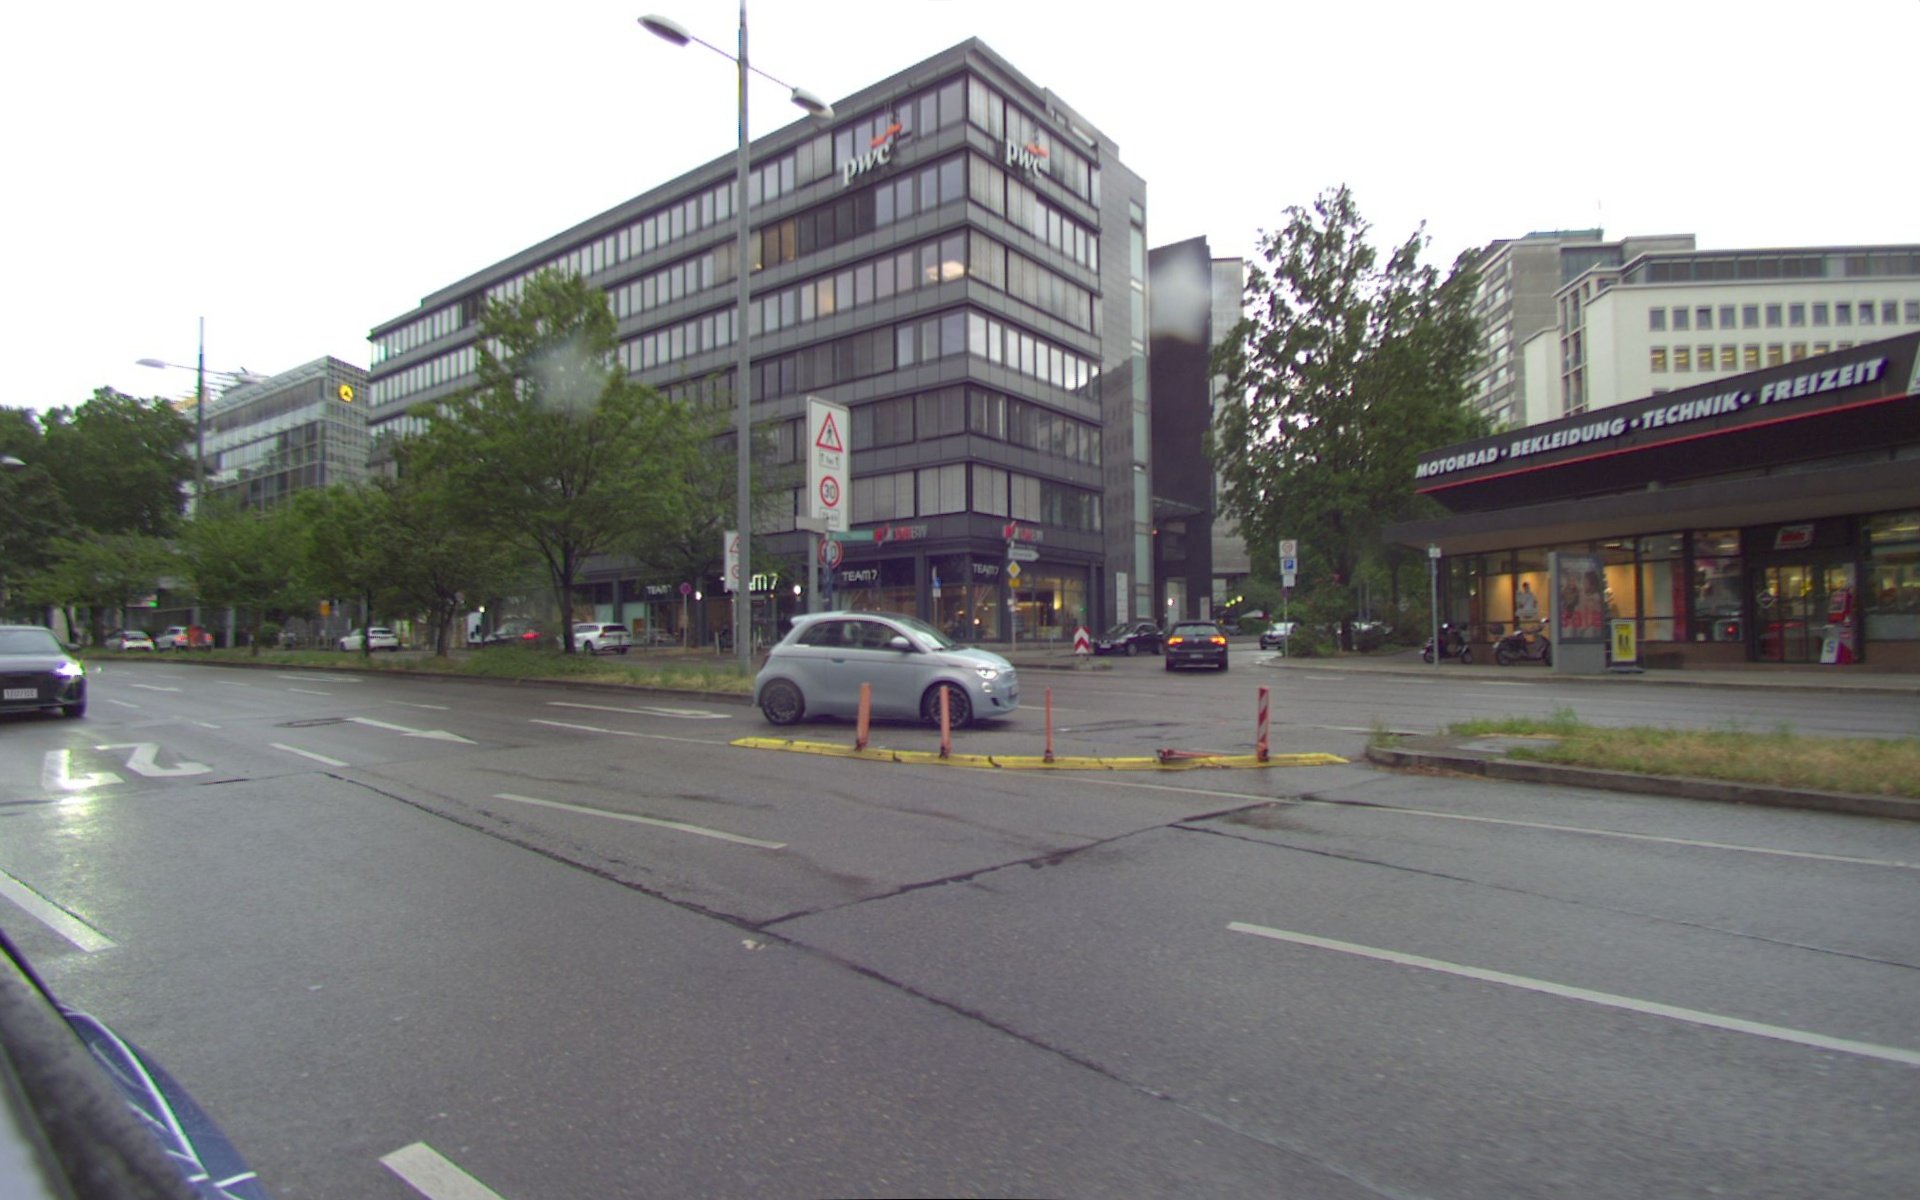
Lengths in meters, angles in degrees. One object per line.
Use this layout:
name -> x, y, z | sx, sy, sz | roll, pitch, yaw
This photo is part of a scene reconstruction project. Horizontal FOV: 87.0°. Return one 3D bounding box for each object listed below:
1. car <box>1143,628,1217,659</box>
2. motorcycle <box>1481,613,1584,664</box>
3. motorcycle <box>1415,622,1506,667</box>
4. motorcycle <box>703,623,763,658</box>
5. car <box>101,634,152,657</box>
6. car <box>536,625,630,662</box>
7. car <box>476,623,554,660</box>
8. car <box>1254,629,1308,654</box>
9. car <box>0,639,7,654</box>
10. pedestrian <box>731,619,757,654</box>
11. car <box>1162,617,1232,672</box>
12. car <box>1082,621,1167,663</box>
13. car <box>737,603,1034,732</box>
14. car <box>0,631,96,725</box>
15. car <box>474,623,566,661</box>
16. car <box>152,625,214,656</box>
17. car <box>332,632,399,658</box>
car -> 10.347, 2.012, 47.410 | 1.845, 1.298, 3.949 | -1, -1, 38
motorcycle -> 16.687, 1.101, 29.479 | 2.844, 1.384, 0.806 | -1, -1, -15
motorcycle -> 16.024, 1.408, 32.419 | 2.773, 1.343, 0.725 | -1, -1, -14
motorcycle -> -9.752, 1.740, 43.531 | 2.345, 1.404, 0.857 | -1, 1, 12
car -> -54.244, 2.964, 65.853 | 4.075, 1.442, 1.667 | -2, -2, 36
car -> -17.302, 1.976, 46.337 | 4.766, 1.496, 1.792 | -2, 1, 38
car -> -22.103, 2.035, 50.161 | 4.306, 1.673, 1.791 | -2, -1, 39
car -> 18.904, 2.426, 59.527 | 1.844, 1.298, 3.950 | -1, -1, 37
car -> -93.150, 4.480, 97.027 | 4.292, 1.487, 1.793 | -2, -2, 36
pedestrian -> -10.325, 1.764, 48.386 | 0.964, 1.650, 0.776 | -2, -2, 38
car -> 6.971, 1.259, 29.589 | 1.827, 1.462, 4.666 | 0, -2, 15
car -> 7.166, 1.779, 43.855 | 1.997, 1.652, 3.949 | -1, -1, 37
car -> -0.987, 0.882, 13.825 | 3.661, 1.585, 1.778 | -1, -2, 19
car -> -16.416, 1.269, 17.187 | 4.283, 1.446, 1.917 | -2, -2, 39
car -> -19.056, 1.784, 43.724 | 4.481, 1.556, 1.972 | -2, -2, 42
car -> -46.680, 2.437, 60.747 | 4.483, 1.741, 1.722 | -2, -1, 35
car -> -35.305, 2.654, 60.068 | 4.299, 1.455, 1.793 | -2, -1, 35
